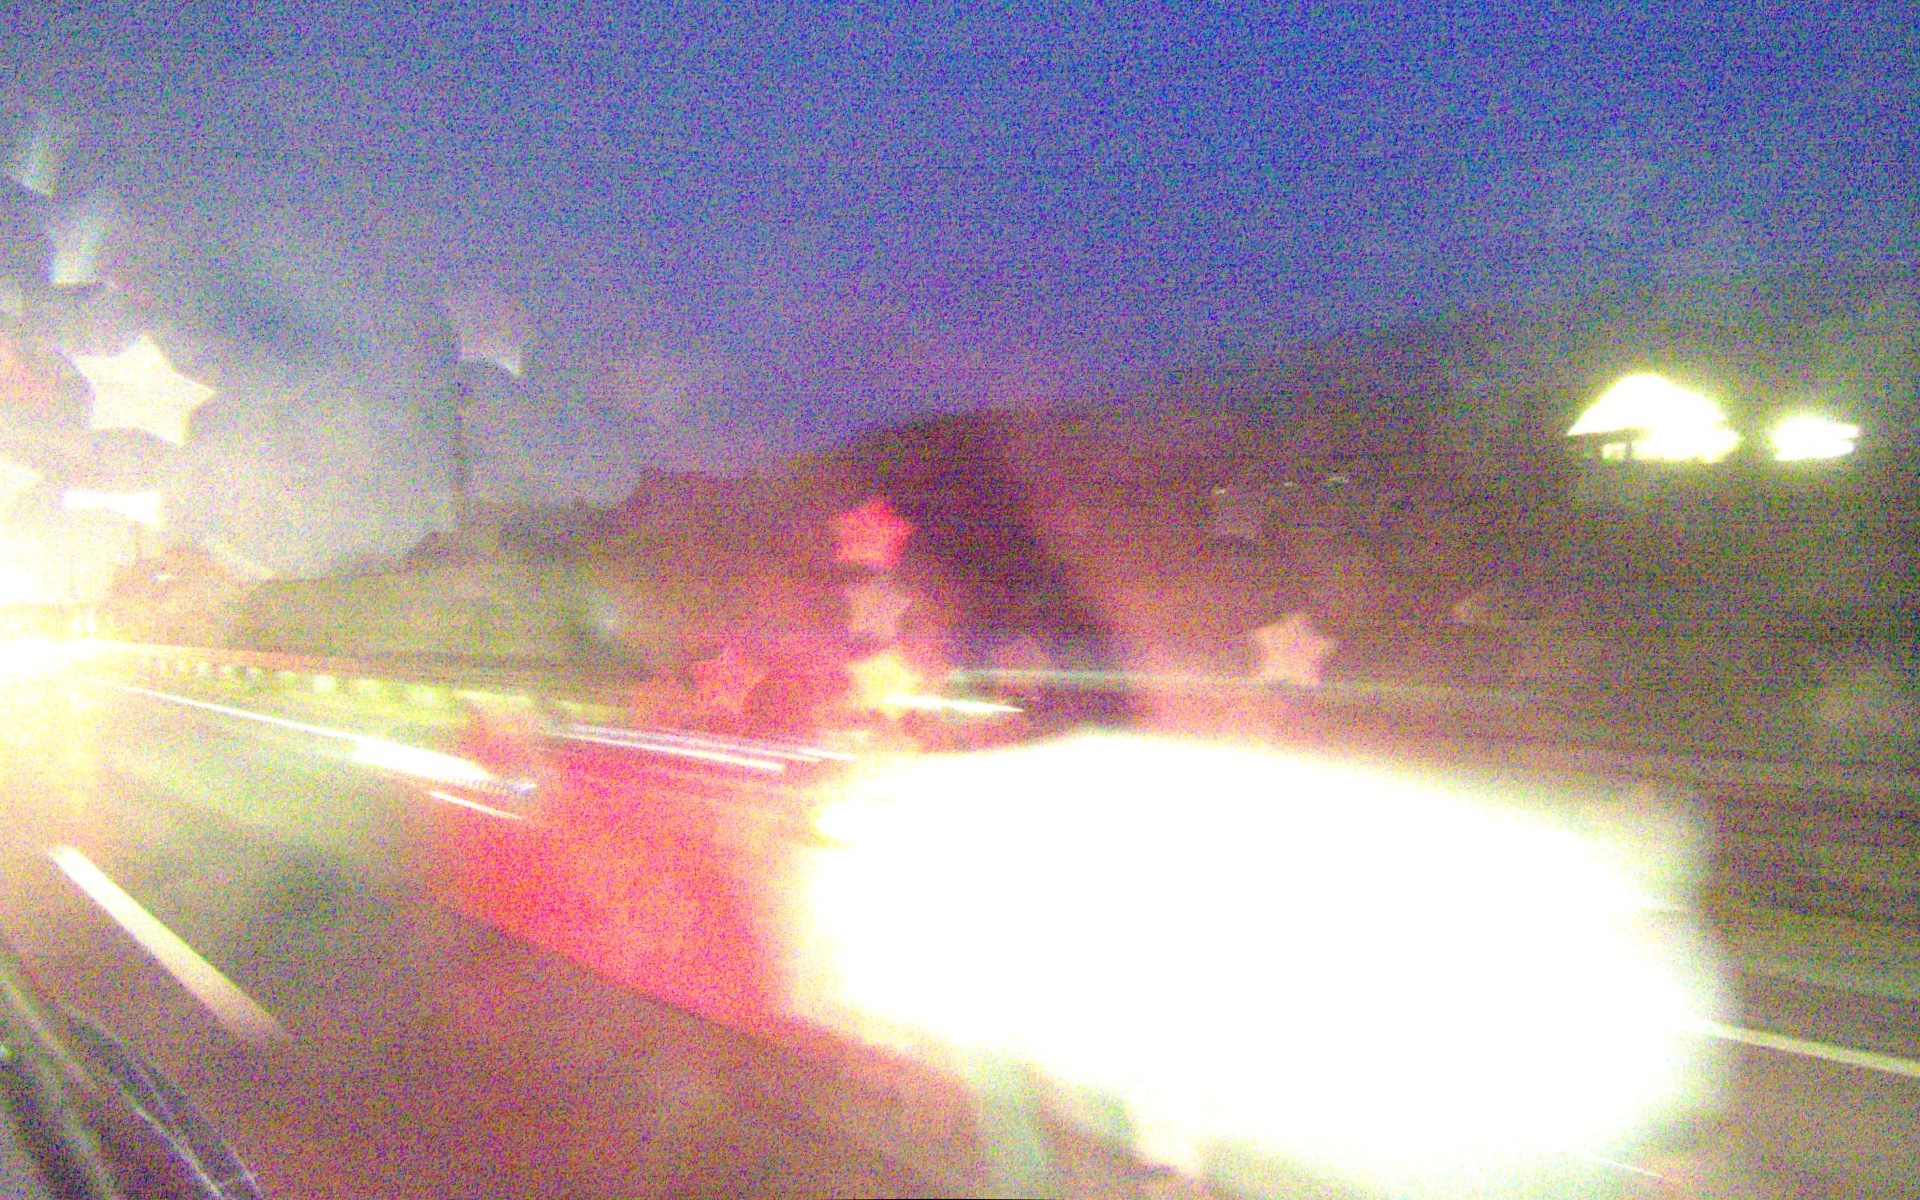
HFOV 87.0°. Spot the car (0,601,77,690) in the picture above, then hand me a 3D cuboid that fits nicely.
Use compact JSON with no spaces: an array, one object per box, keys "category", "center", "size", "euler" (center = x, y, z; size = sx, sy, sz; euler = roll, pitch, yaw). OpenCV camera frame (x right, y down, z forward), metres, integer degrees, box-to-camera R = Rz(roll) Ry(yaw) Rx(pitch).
[{"category":"car","center":[-21.052,0.971,22.391],"size":[3.875,1.837,1.725],"euler":[-1,-1,40]}]

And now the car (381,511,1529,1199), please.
[{"category":"car","center":[-0.364,0.669,3.776],"size":[4.047,1.588,1.866],"euler":[-1,-1,40]}]
